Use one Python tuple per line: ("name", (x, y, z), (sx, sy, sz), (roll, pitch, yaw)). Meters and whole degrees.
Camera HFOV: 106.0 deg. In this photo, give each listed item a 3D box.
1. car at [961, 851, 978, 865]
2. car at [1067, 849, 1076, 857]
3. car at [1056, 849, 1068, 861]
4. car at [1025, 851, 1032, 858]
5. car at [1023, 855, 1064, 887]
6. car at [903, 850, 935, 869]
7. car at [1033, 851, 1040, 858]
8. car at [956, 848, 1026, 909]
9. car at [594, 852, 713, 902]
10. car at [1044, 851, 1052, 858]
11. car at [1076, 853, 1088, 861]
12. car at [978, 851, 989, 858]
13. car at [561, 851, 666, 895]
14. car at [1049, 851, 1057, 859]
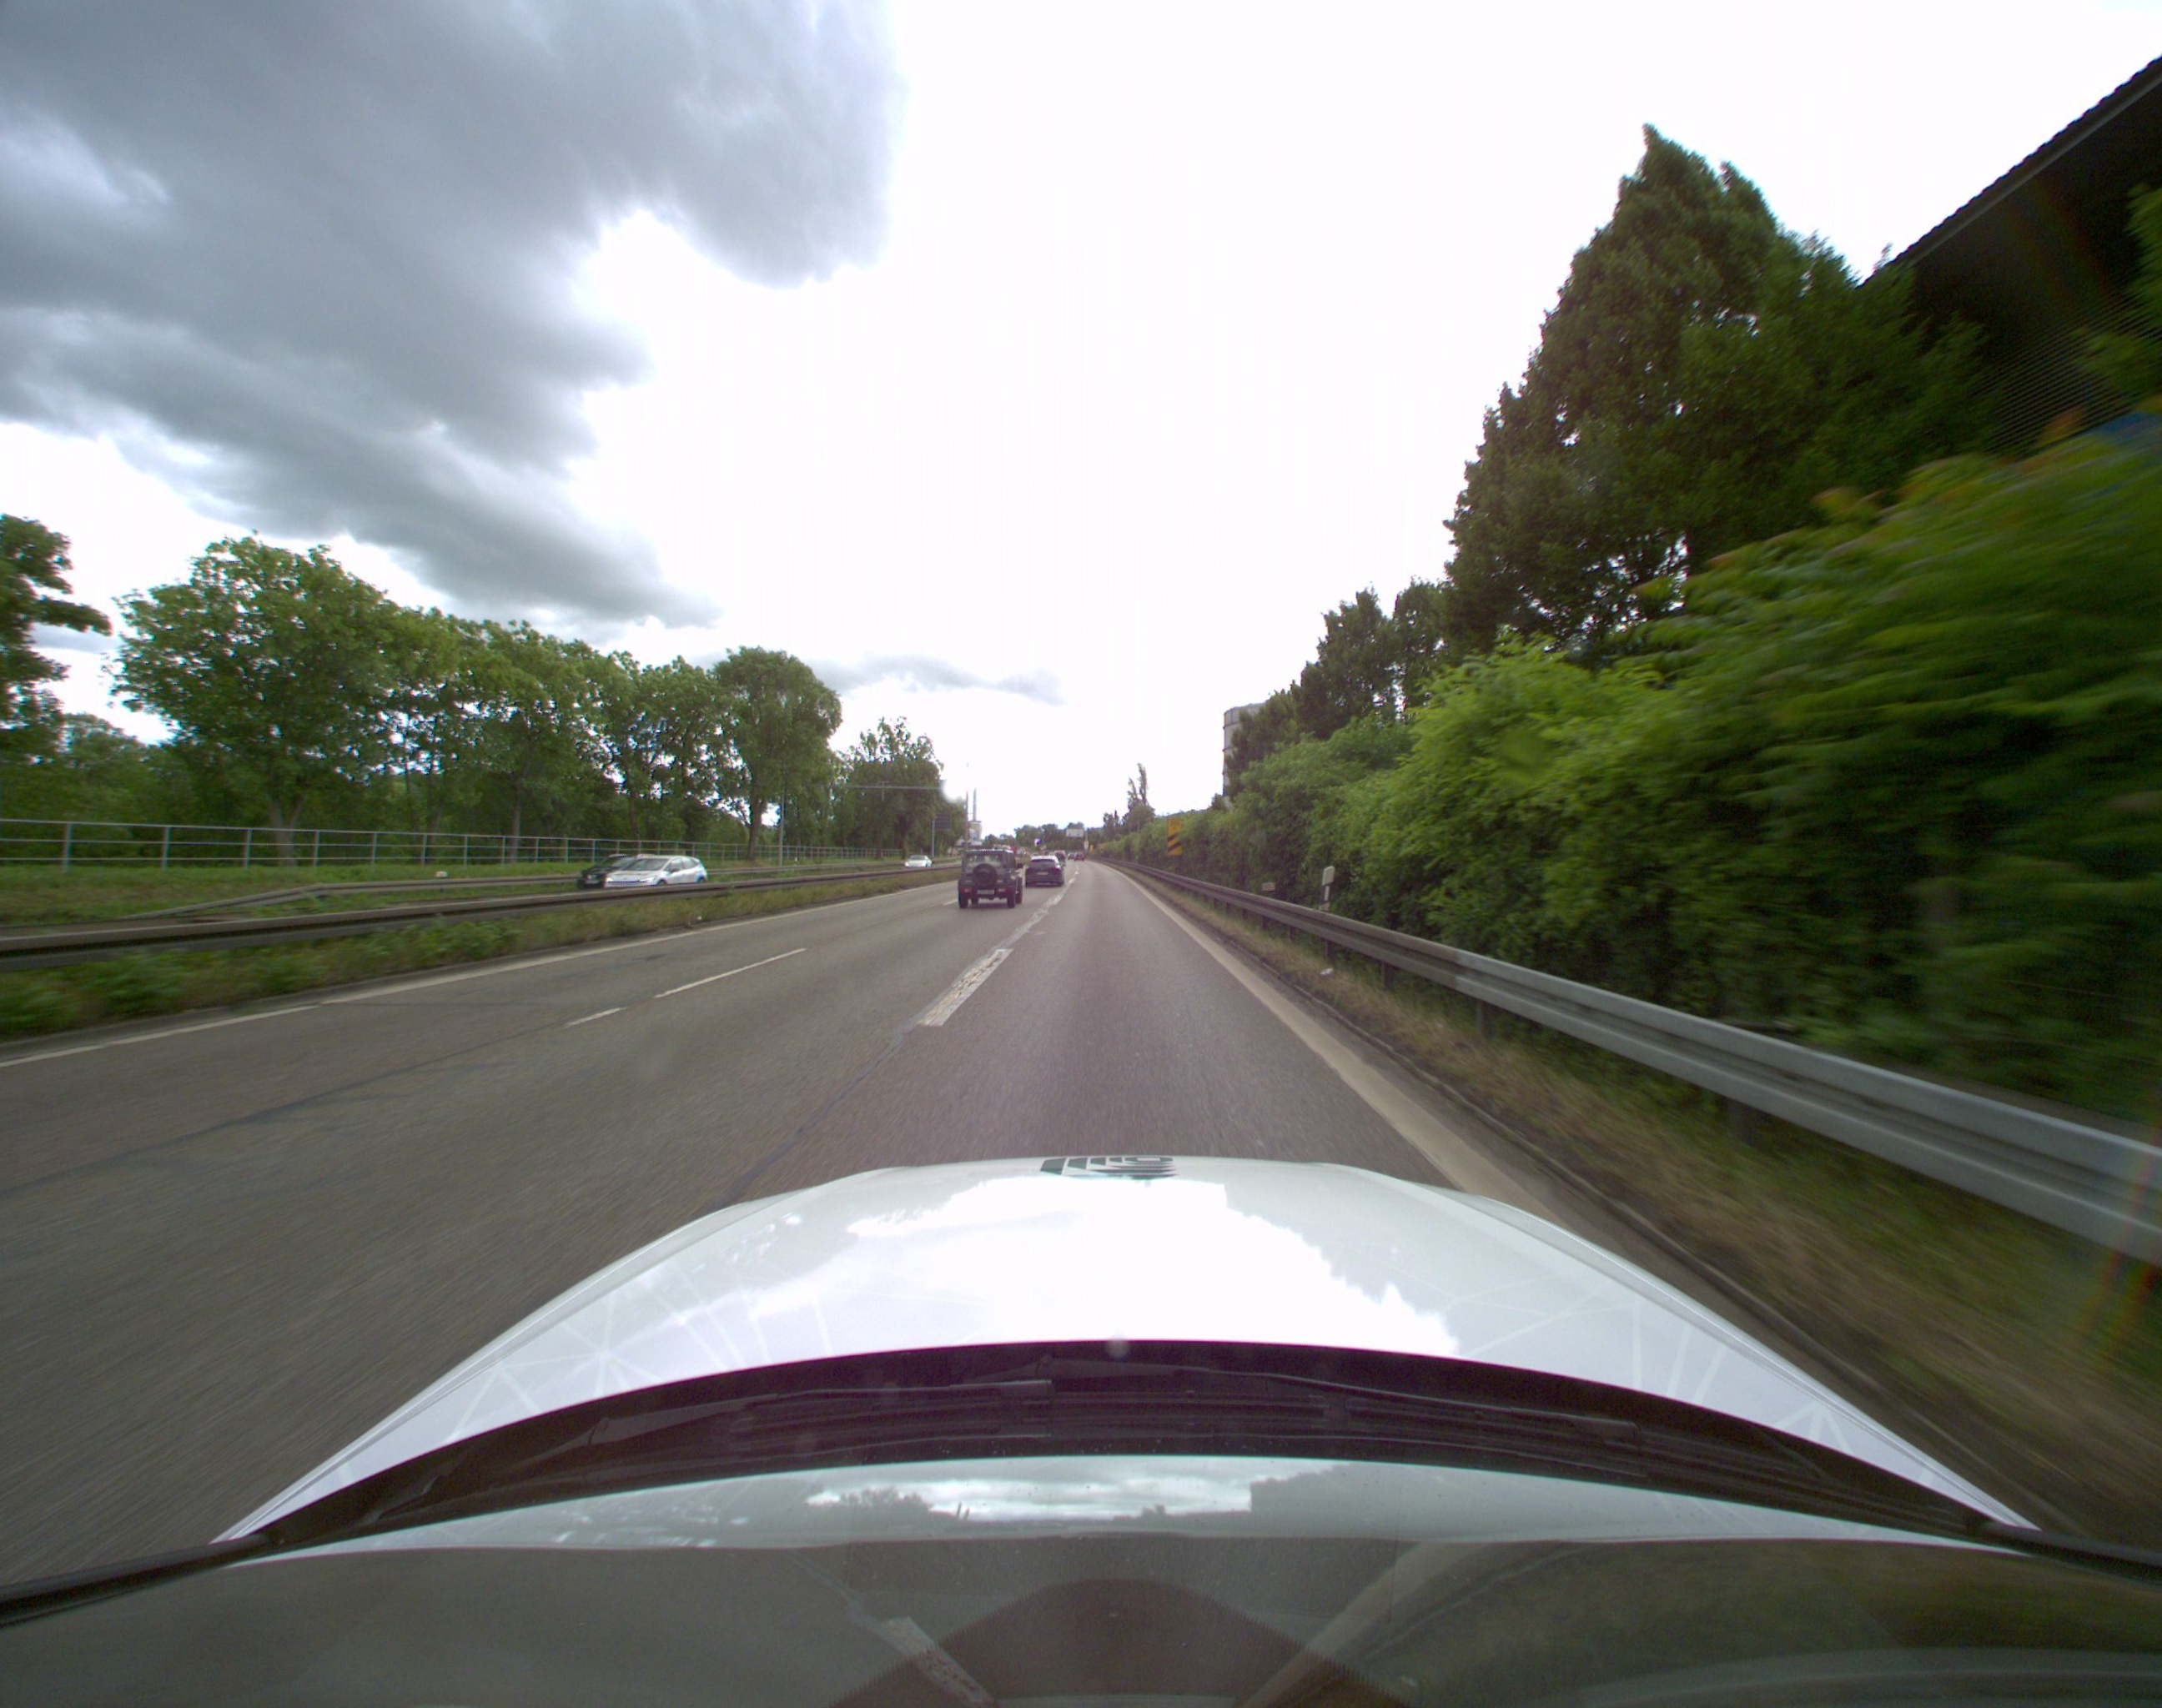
("car", (-14.983, 0.521, 109.681), (1.720, 1.775, 3.743), (0, 0, 2))
("car", (-1.968, -0.214, 173.386), (1.694, 1.742, 4.387), (0, 0, -4))
("car", (-3.018, 0.177, 128.320), (1.691, 1.742, 4.001), (0, 0, 1))
("car", (-16.409, 0.115, 255.122), (2.011, 1.934, 4.889), (0, 0, -7))
("car", (-1.757, 0.795, 39.792), (1.839, 1.423, 4.898), (1, 0, -1))
("car", (-14.568, 0.454, 73.402), (1.860, 1.674, 4.719), (0, 0, 1))
("car", (-11.675, 0.173, 213.858), (1.694, 1.742, 4.387), (0, 0, -4))
("car", (-2.656, 0.678, 24.876), (1.692, 1.686, 4.000), (0, 0, 0))
("car", (-15.113, 0.749, 29.080), (1.691, 1.605, 4.540), (-1, 0, 2))
("car", (-9.100, 0.216, 223.068), (2.010, 1.934, 4.892), (0, 0, -5))
("car", (0.214, 0.511, 148.730), (1.970, 1.423, 4.895), (0, 0, -3))
("car", (-19.786, 0.154, 165.711), (1.712, 1.465, 4.379), (0, 0, 0))
("car", (-18.589, 0.712, 32.627), (1.719, 1.605, 4.044), (-1, 0, 2))
("car", (-7.106, 0.163, 204.949), (2.008, 1.934, 4.896), (0, 0, -2))
